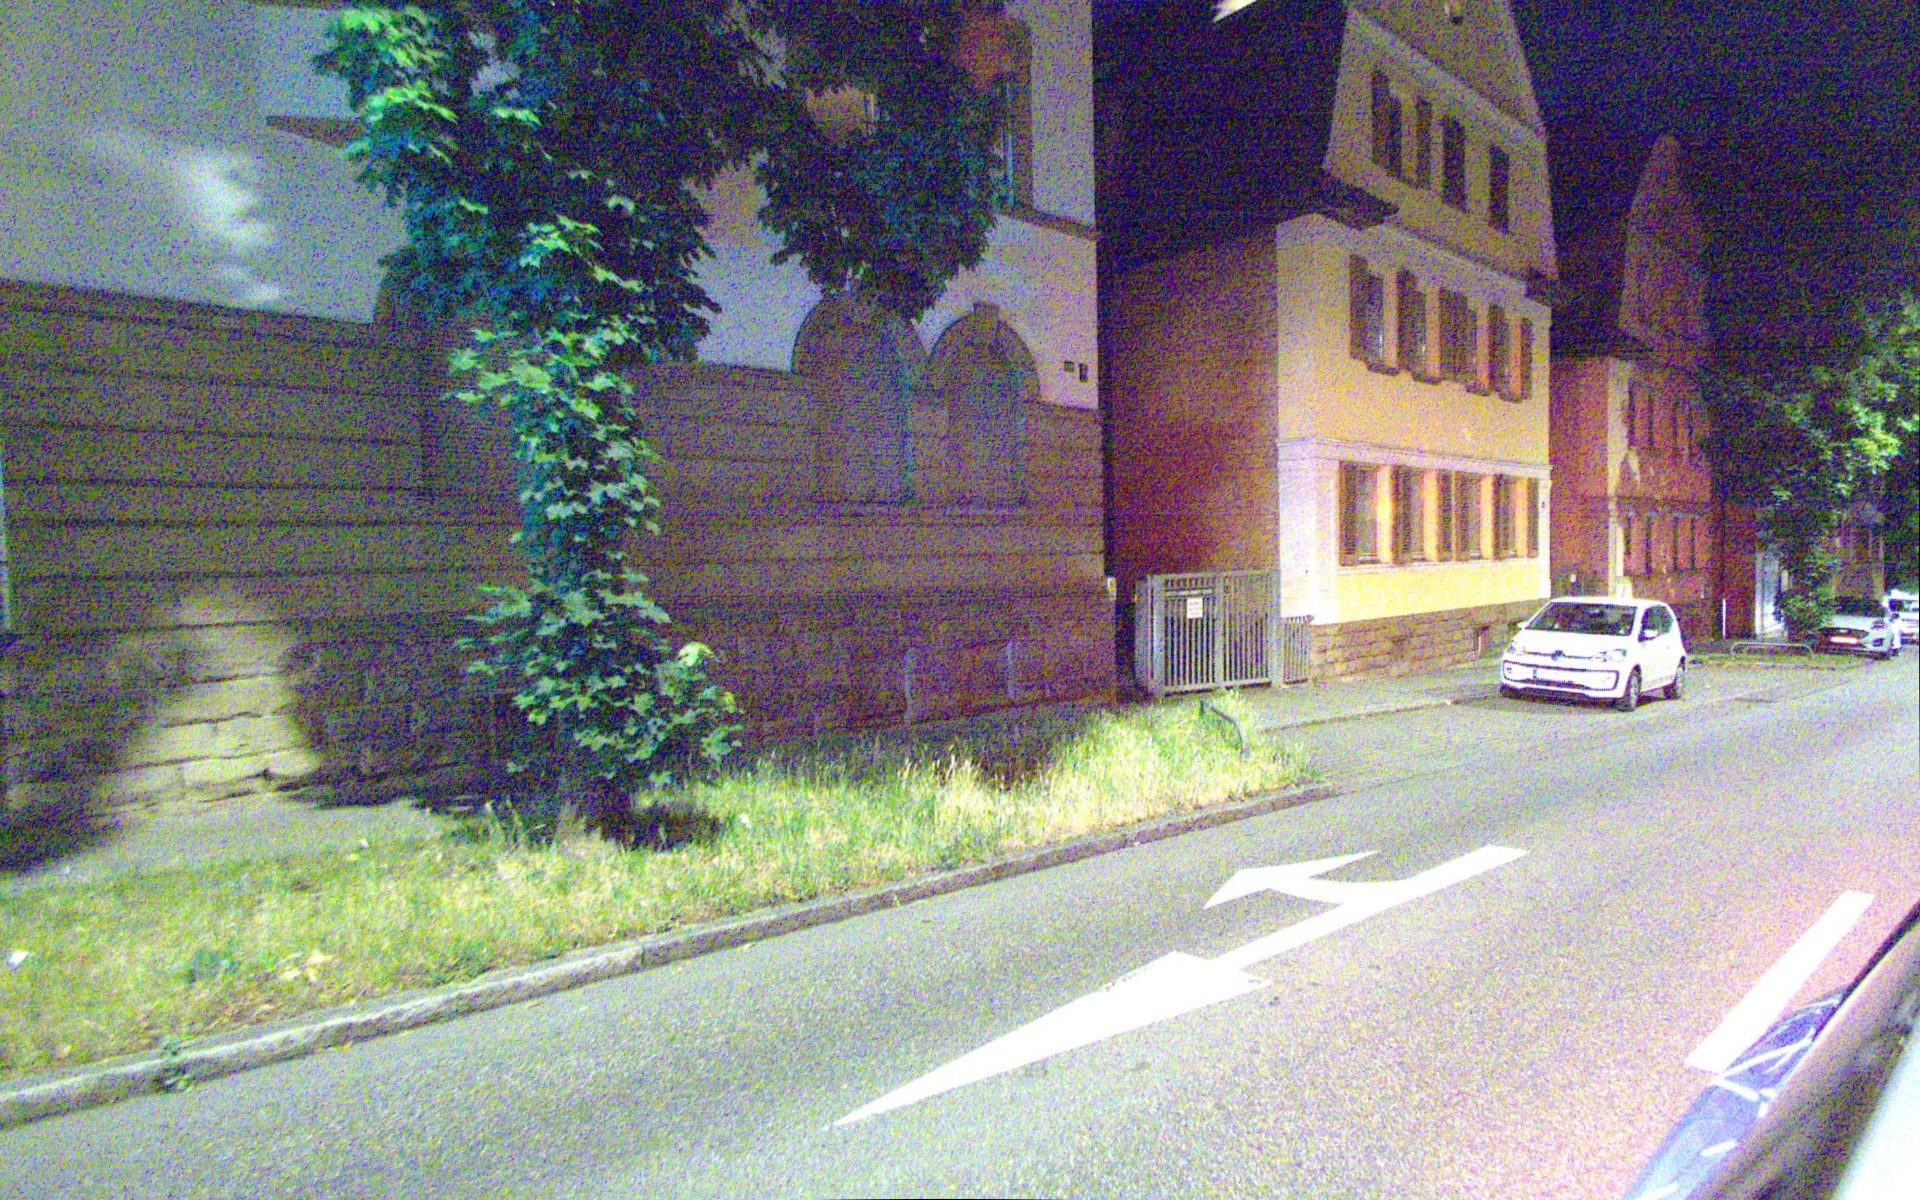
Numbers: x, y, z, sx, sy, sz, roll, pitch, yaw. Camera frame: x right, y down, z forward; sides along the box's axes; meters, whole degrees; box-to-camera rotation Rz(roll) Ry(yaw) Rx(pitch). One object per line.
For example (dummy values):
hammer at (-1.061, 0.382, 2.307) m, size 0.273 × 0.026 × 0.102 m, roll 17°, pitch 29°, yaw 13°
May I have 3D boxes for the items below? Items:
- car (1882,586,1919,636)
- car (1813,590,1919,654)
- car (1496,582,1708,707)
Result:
car at (33.540, 0.365, 35.146) m, size 4.107 × 1.673 × 1.850 m, roll 0°, pitch 0°, yaw -42°
car at (23.616, 0.506, 26.288) m, size 3.824 × 1.516 × 1.740 m, roll 0°, pitch 2°, yaw -43°
car at (9.246, 0.553, 14.490) m, size 3.425 × 1.527 × 1.610 m, roll 0°, pitch 2°, yaw -41°
